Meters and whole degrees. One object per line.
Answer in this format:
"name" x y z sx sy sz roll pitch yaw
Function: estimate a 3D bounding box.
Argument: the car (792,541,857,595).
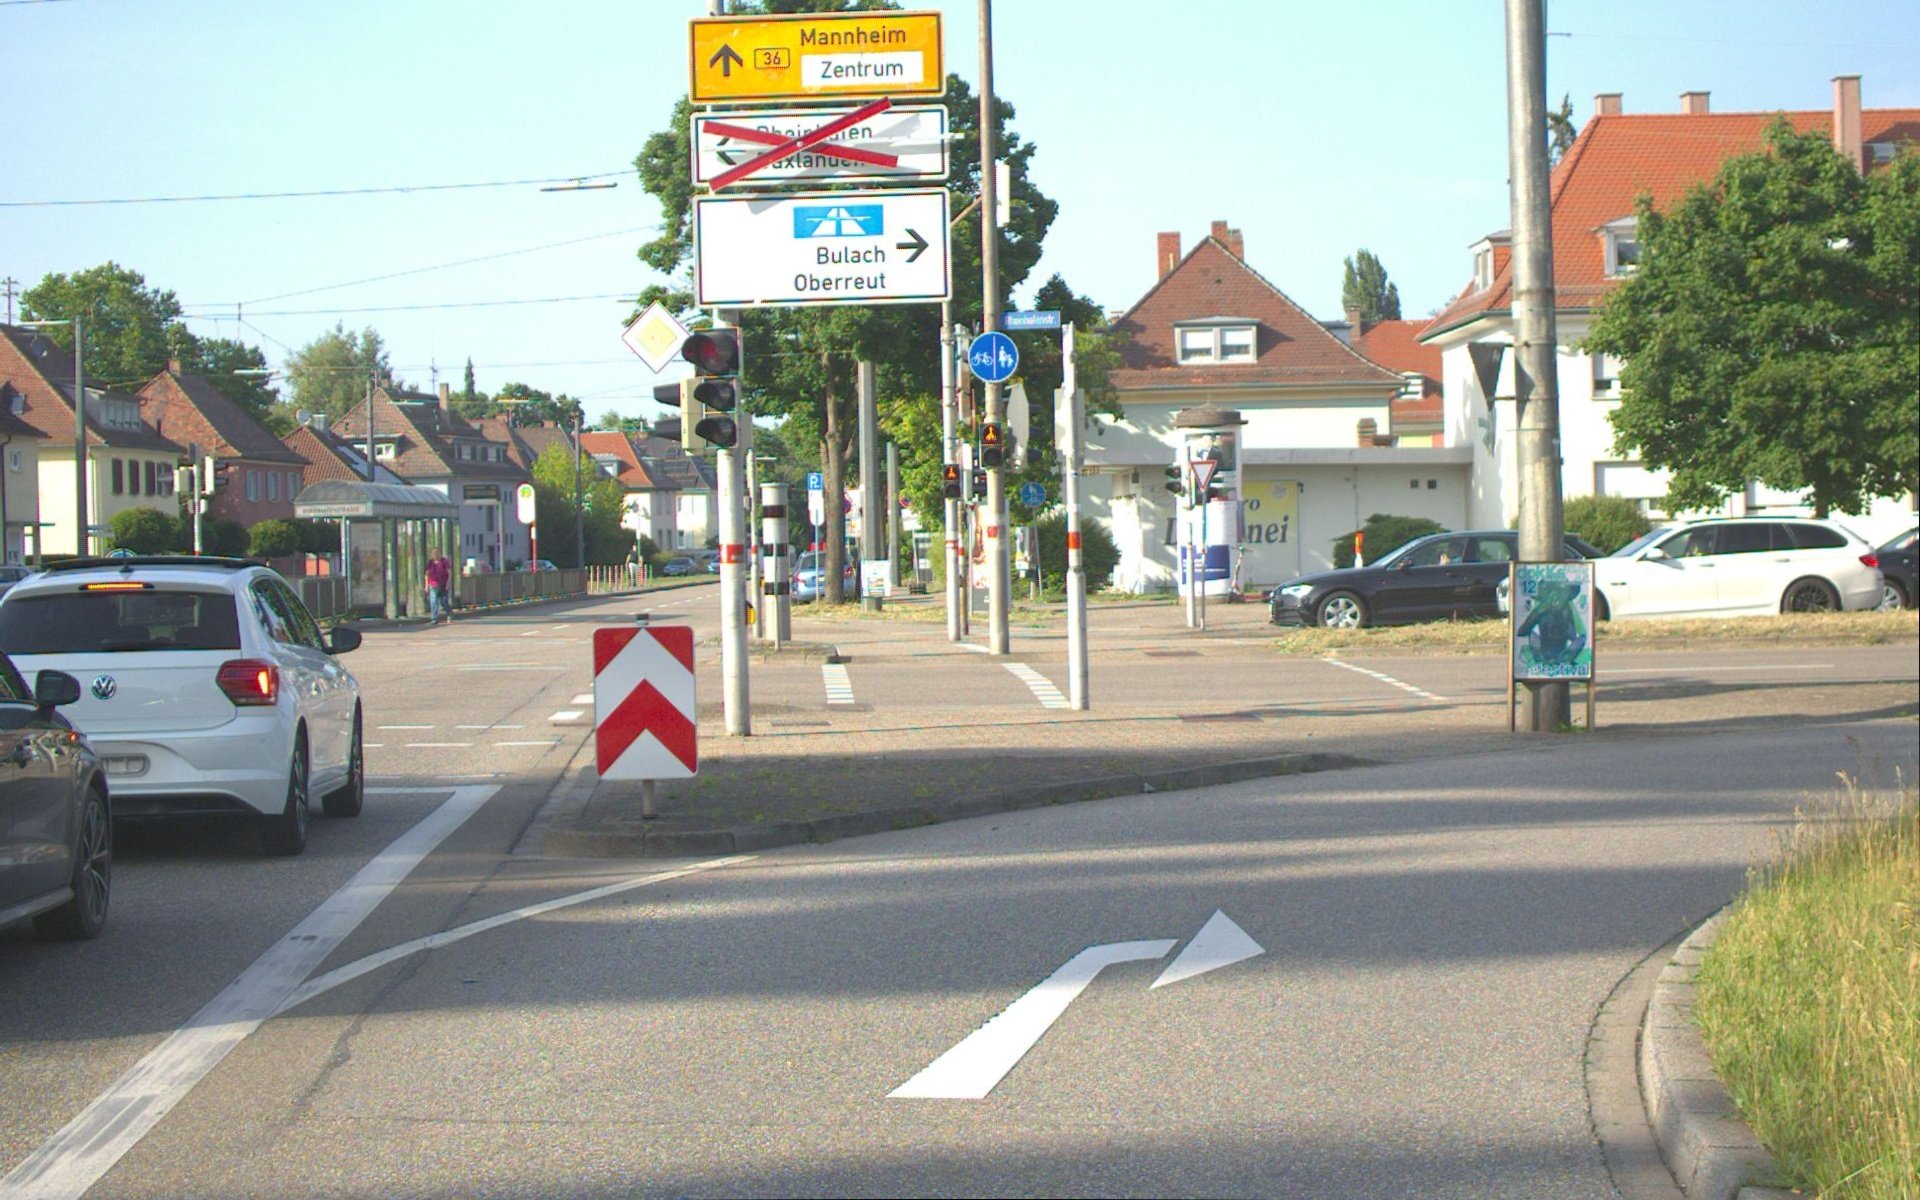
"car" -3.611 -0.845 91.998 1.674 1.393 4.000 0 0 -1

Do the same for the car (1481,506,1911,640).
"car" 9.412 -0.354 44.227 5.094 1.557 1.840 -2 1 -1

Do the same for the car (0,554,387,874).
"car" -4.053 0.507 18.079 1.656 1.438 4.015 -2 1 -4

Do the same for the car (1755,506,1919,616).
"car" 13.288 -0.578 47.868 3.987 1.448 1.716 -2 1 -1

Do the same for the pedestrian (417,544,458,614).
"pedestrian" -11.321 -0.452 74.466 0.753 1.494 0.827 0 0 0

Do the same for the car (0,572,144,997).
"car" -4.056 0.643 11.912 1.642 1.392 3.828 -2 1 -2

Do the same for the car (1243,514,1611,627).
"car" 6.438 -0.416 47.743 4.823 1.406 1.716 -2 1 -1
